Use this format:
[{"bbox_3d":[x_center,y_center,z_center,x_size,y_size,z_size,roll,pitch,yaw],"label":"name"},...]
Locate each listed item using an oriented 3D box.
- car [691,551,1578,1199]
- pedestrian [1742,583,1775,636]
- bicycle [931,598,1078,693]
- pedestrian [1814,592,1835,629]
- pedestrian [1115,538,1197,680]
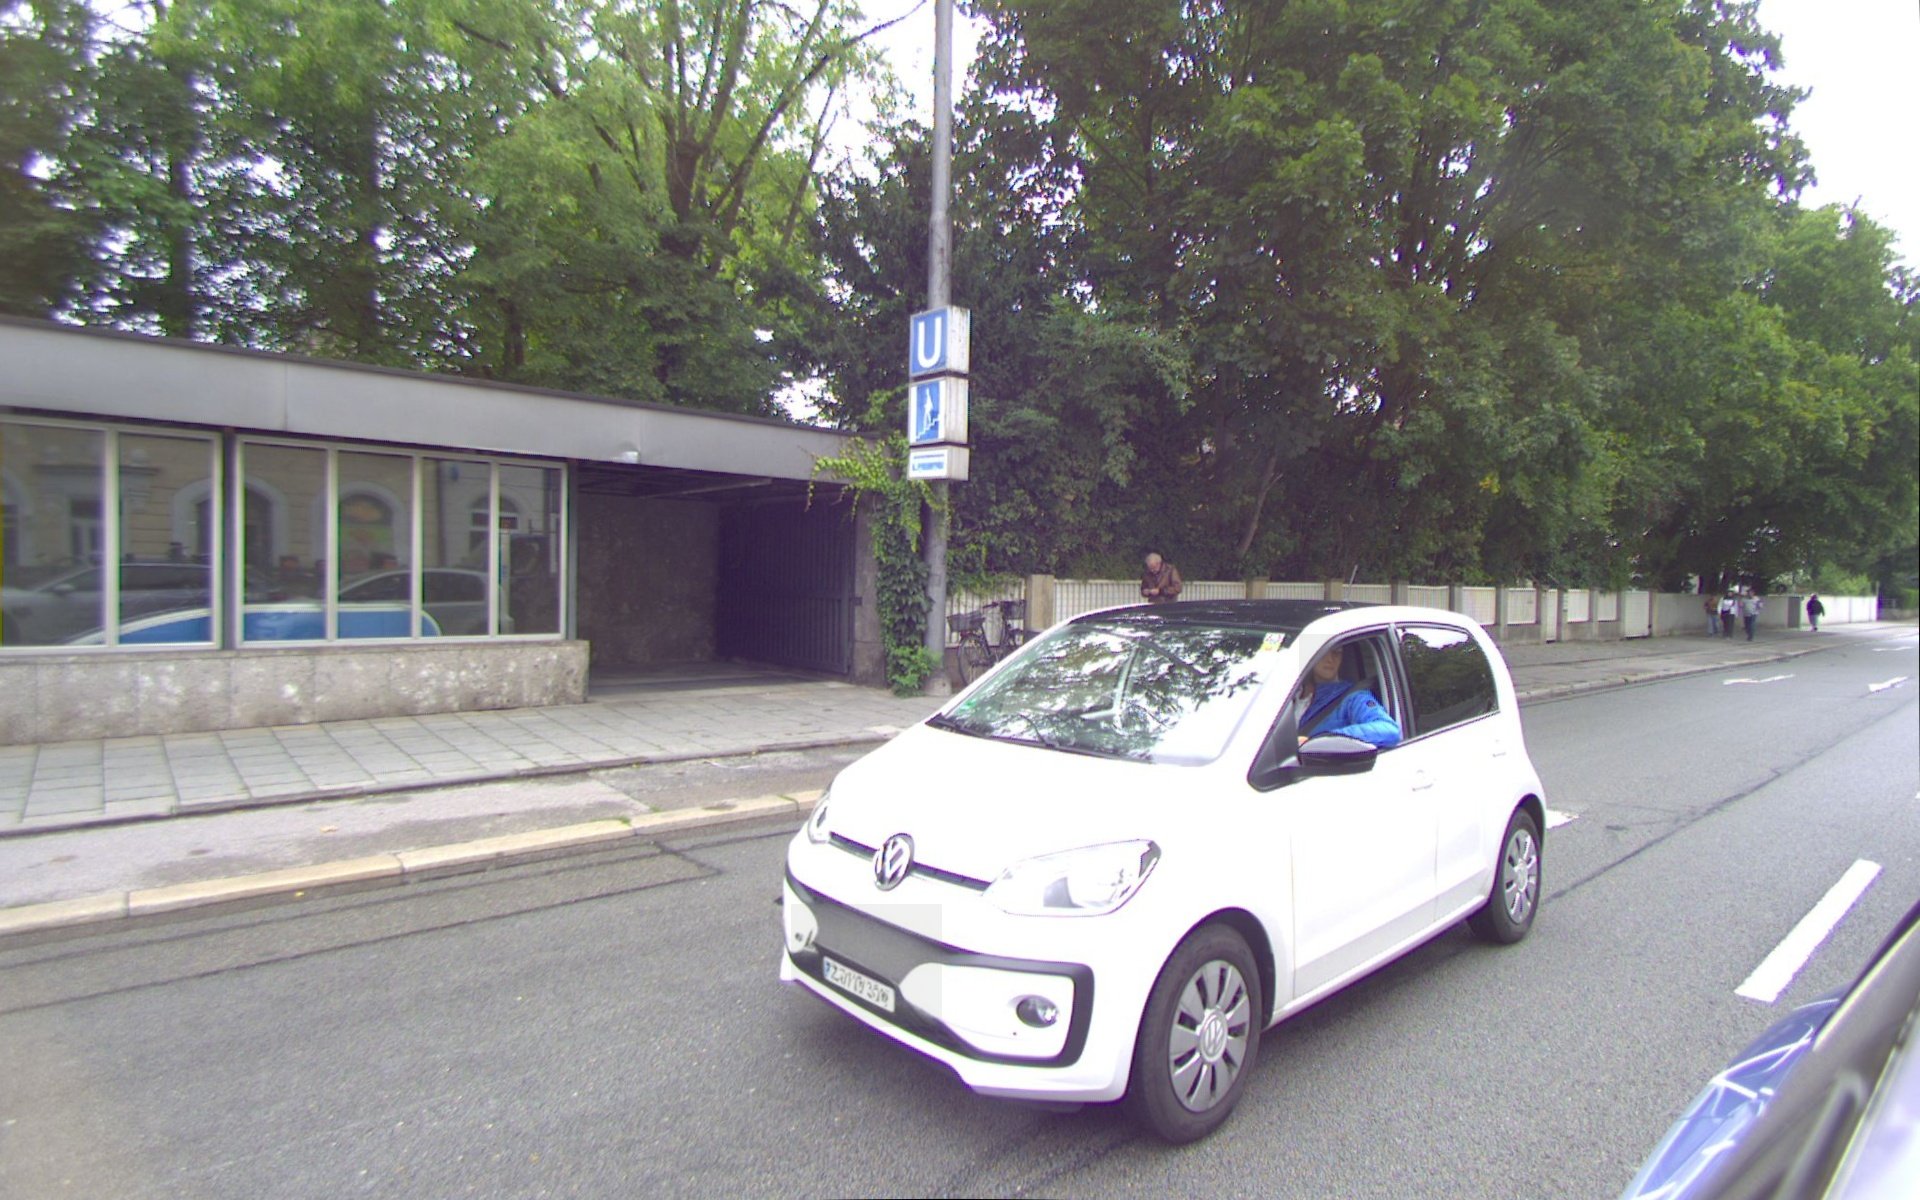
[{"bbox_3d":[0.935,0.656,4.030,3.524,1.581,1.645,0,1,-42],"label":"car"},{"bbox_3d":[26.961,0.307,34.177,0.753,1.726,0.667,0,3,-42],"label":"pedestrian"},{"bbox_3d":[0.594,0.540,12.903,1.991,1.104,0.623,0,1,-41],"label":"bicycle"},{"bbox_3d":[38.885,0.458,45.515,0.716,1.600,0.529,0,3,-42],"label":"pedestrian"},{"bbox_3d":[2.814,0.106,14.561,0.788,1.966,0.779,0,2,-40],"label":"pedestrian"}]
